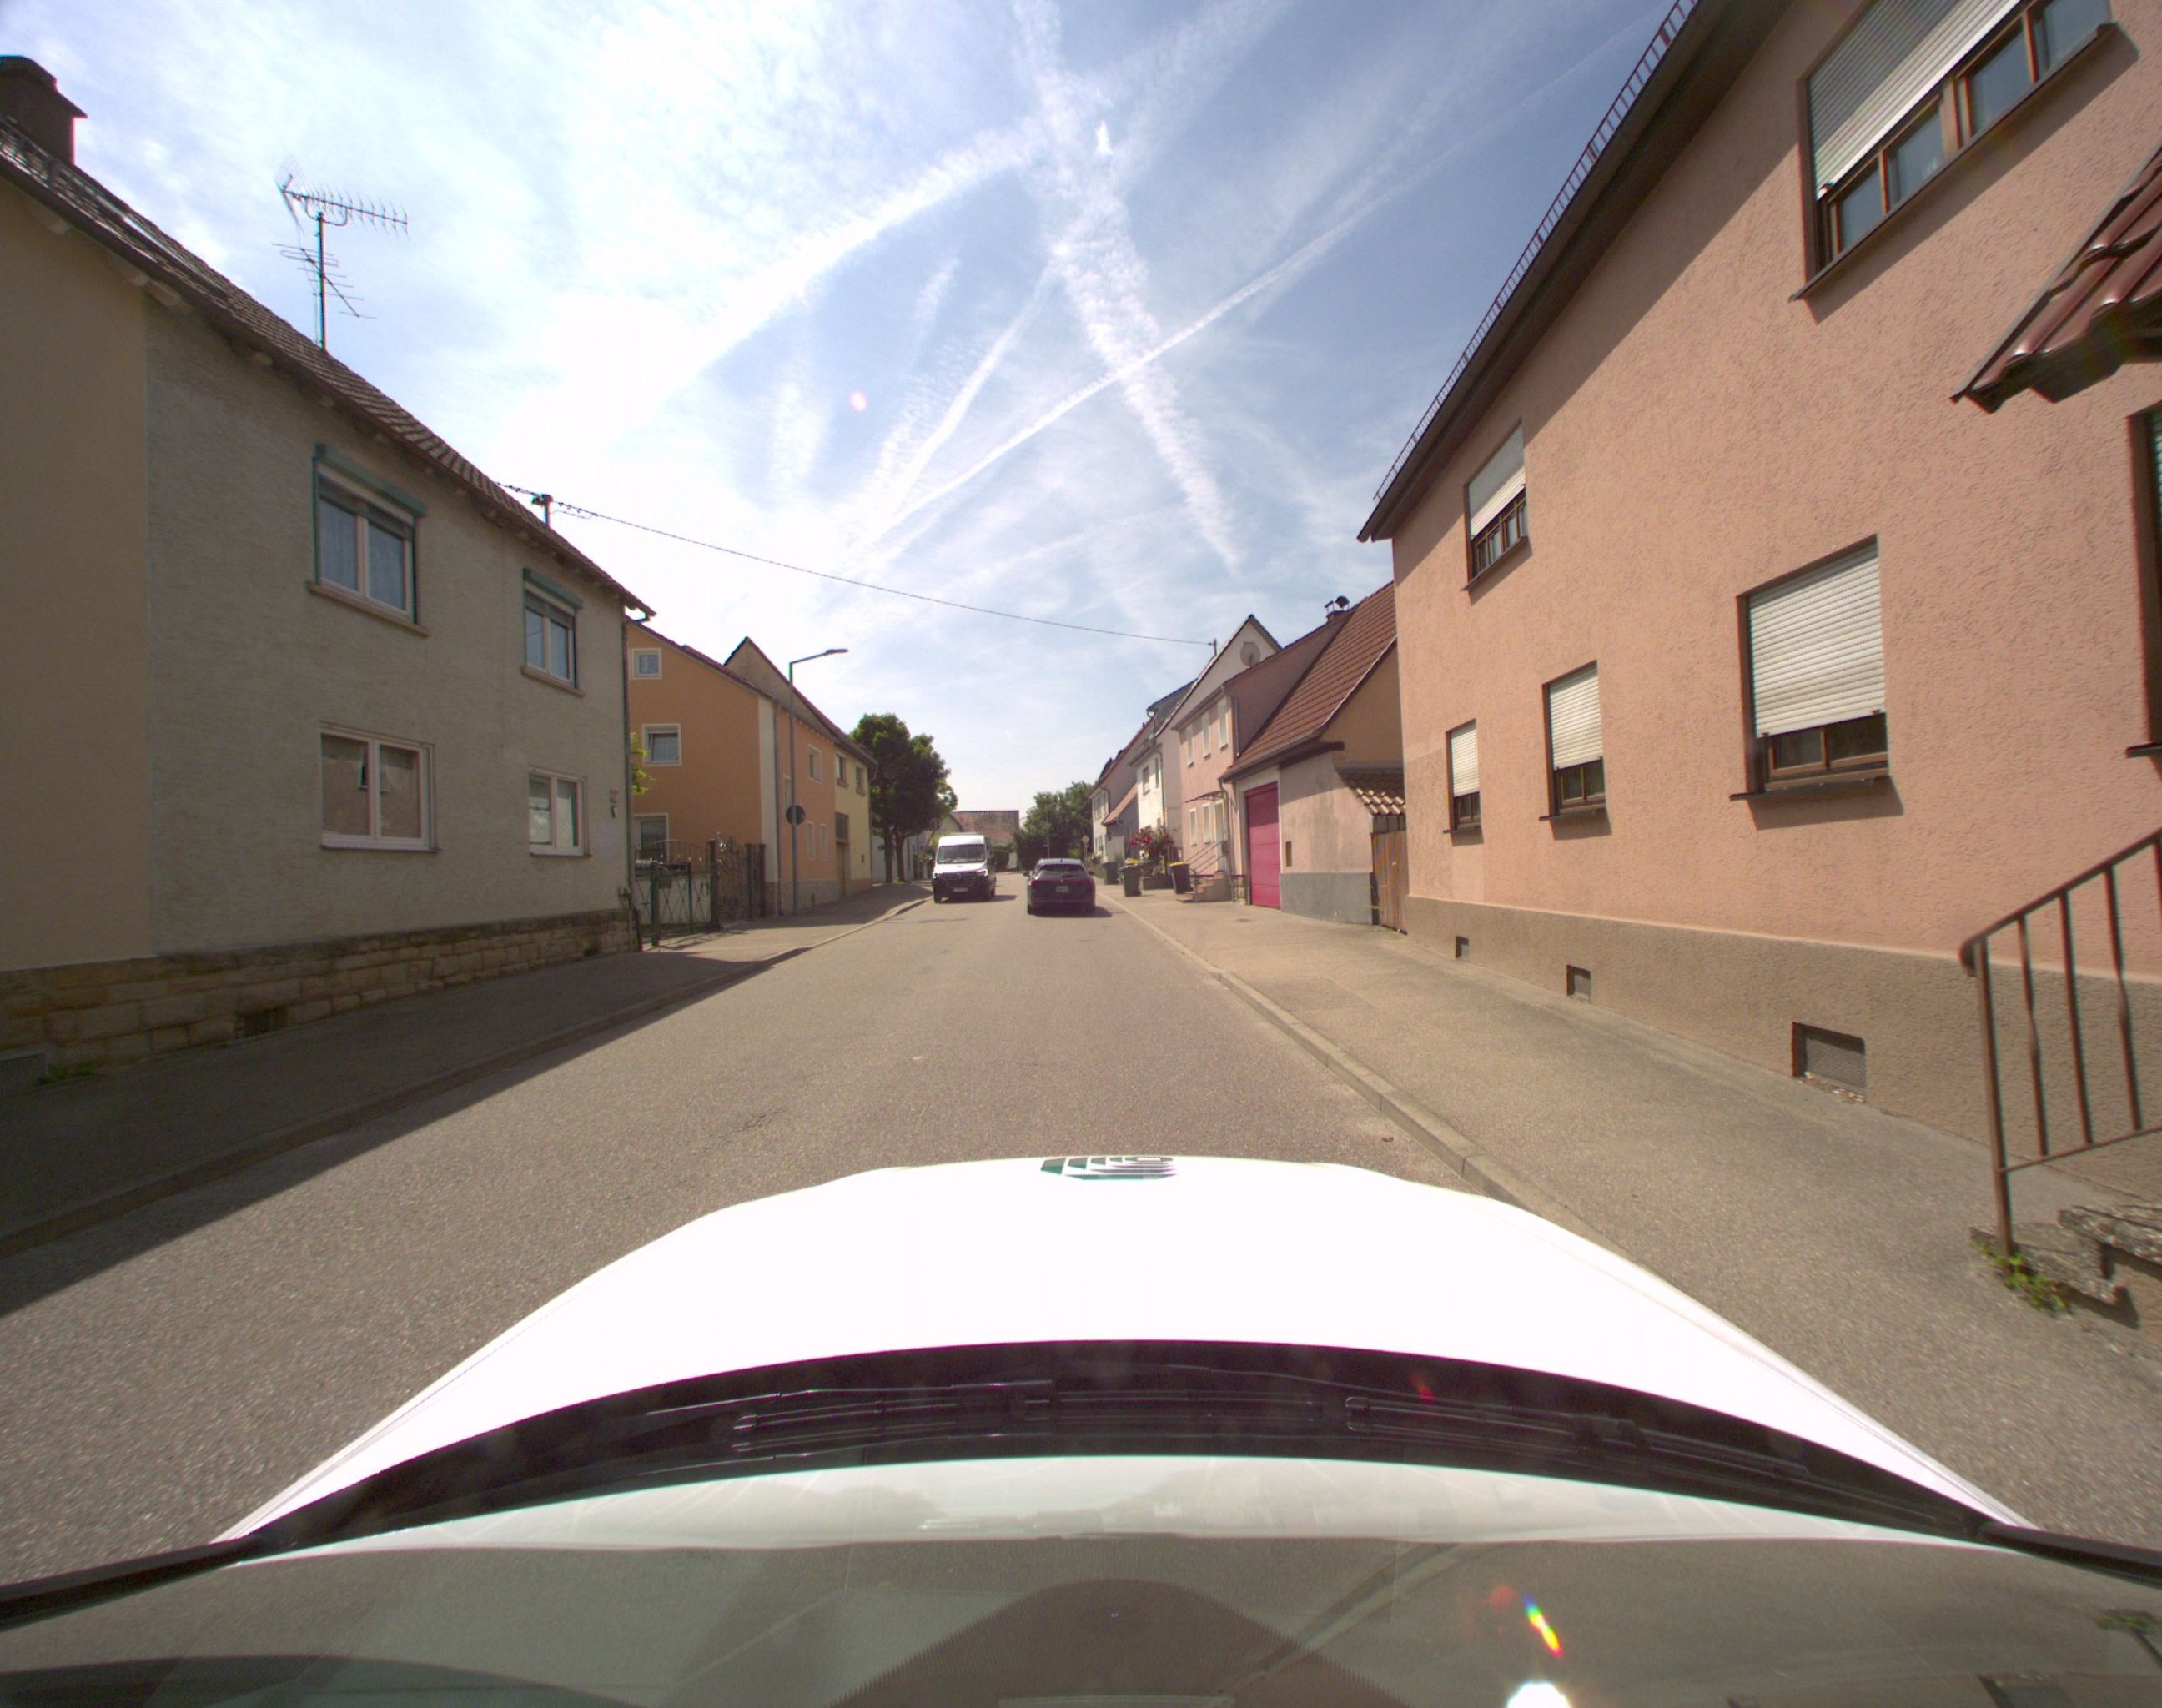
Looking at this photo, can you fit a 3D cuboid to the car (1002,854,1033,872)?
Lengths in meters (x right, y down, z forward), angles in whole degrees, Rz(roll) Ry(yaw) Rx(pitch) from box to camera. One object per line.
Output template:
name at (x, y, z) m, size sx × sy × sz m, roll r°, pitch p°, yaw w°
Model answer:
car at (-7.975, 1.100, 102.671) m, size 2.111 × 2.013 × 4.959 m, roll -2°, pitch 0°, yaw 16°

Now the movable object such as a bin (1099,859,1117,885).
movable object such as a bin at (1.256, 0.810, 37.434) m, size 0.678 × 1.155 × 0.818 m, roll -1°, pitch 0°, yaw -8°

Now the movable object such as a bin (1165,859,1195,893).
movable object such as a bin at (3.303, 0.727, 27.182) m, size 0.678 × 1.050 × 0.833 m, roll -6°, pitch 0°, yaw -8°

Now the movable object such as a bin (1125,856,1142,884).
movable object such as a bin at (2.358, 0.714, 36.424) m, size 0.663 × 1.194 × 0.587 m, roll -2°, pitch 0°, yaw -4°

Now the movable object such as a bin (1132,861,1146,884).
movable object such as a bin at (2.490, 0.793, 35.014) m, size 0.503 × 0.994 × 0.441 m, roll -2°, pitch 0°, yaw -4°

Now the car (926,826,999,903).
car at (-4.413, 0.368, 31.175) m, size 2.109 × 2.562 × 5.821 m, roll -3°, pitch 0°, yaw -3°

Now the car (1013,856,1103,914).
car at (-0.765, 0.774, 22.690) m, size 1.842 × 1.420 × 4.665 m, roll 0°, pitch 0°, yaw -10°

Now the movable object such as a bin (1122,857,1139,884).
movable object such as a bin at (2.250, 0.746, 37.161) m, size 0.663 × 1.194 × 0.659 m, roll -2°, pitch 0°, yaw -4°

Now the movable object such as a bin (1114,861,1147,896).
movable object such as a bin at (1.706, 0.837, 28.256) m, size 0.875 × 1.074 × 0.870 m, roll -6°, pitch 0°, yaw -8°

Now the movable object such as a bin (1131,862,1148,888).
movable object such as a bin at (2.447, 0.884, 34.162) m, size 0.591 × 1.040 × 0.530 m, roll -2°, pitch 0°, yaw -4°

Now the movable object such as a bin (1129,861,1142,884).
movable object such as a bin at (2.396, 0.814, 35.891) m, size 0.503 × 0.994 × 0.441 m, roll -2°, pitch 0°, yaw -4°
